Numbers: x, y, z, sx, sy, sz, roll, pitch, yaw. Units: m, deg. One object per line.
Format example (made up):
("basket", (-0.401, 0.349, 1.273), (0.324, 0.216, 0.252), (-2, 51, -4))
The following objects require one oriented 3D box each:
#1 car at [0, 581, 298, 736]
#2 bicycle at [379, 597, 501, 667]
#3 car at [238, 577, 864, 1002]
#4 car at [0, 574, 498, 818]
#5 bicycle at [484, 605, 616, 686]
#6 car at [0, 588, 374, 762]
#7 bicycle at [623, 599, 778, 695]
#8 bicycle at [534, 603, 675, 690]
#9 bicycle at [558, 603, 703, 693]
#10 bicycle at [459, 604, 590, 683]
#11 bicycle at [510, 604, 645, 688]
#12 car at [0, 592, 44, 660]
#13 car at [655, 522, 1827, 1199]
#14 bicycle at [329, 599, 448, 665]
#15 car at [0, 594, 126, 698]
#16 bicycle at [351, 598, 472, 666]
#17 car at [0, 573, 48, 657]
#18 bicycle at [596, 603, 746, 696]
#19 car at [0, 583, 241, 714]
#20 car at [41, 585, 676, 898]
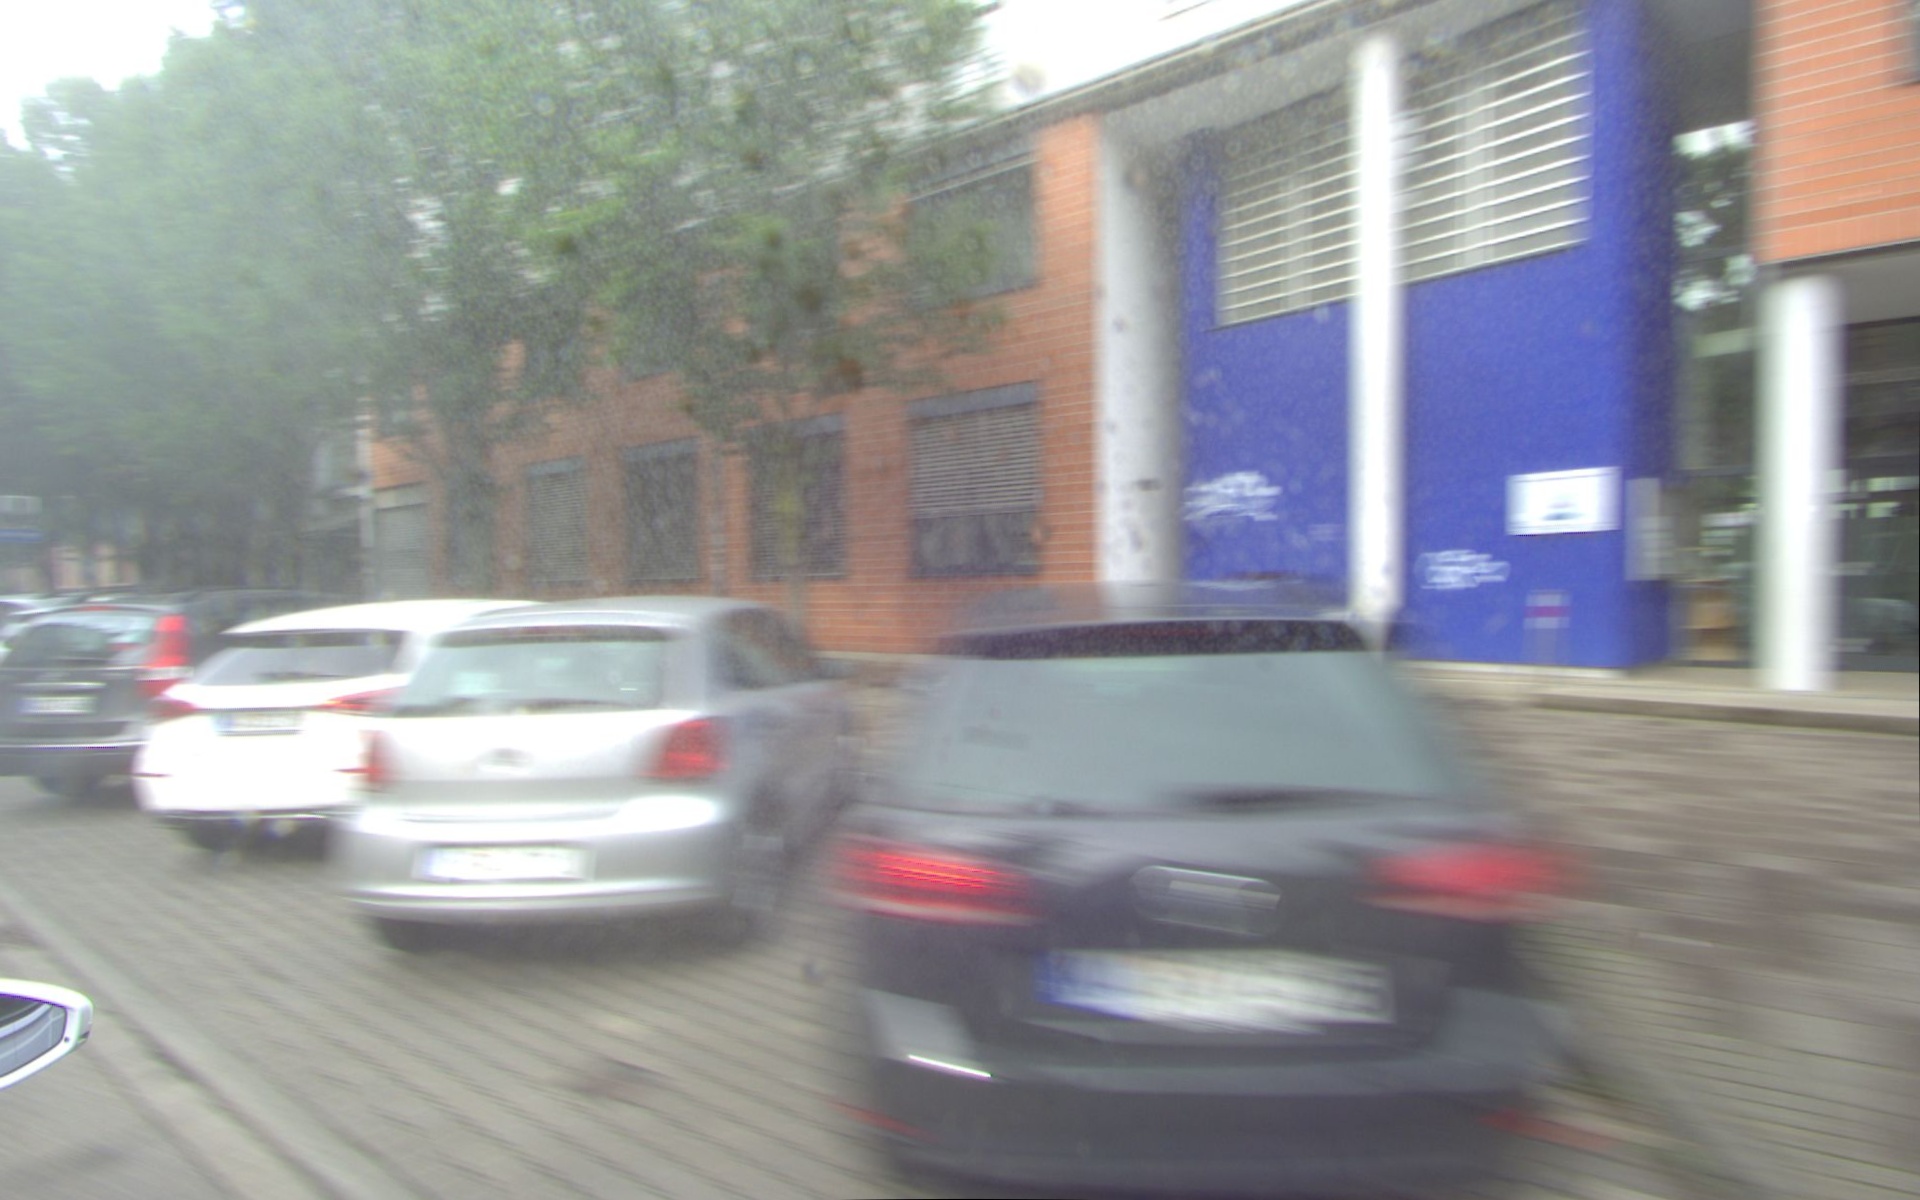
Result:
("car", (-10.554, 0.583, 12.339), (1.737, 1.606, 4.057), (-1, 1, 7))
("bicycle", (-8.678, 0.512, 16.776), (0.558, 1.106, 1.746), (-1, 0, 36))
("car", (-1.654, 0.677, 5.392), (1.809, 1.519, 3.566), (0, 0, 2))
("car", (-6.061, 0.616, 8.688), (1.867, 1.606, 4.058), (-1, 1, 6))
("bicycle", (-5.980, 0.643, 14.682), (0.558, 1.106, 1.746), (-1, 0, 36))
("car", (-8.473, 0.653, 10.920), (1.649, 1.506, 4.058), (-1, 1, 1))
("bicycle", (-3.178, 0.543, 12.457), (0.569, 1.106, 1.926), (-1, 0, 36))
("bicycle", (-4.874, 0.608, 13.831), (0.558, 1.106, 1.829), (-1, 0, 36))
("bicycle", (-4.322, 0.600, 13.259), (0.536, 1.106, 1.829), (-1, 0, 36))
("bicycle", (-6.488, 0.620, 15.001), (0.558, 1.106, 1.746), (-1, 0, 36))
("bicycle", (-5.387, 0.618, 14.184), (0.558, 1.106, 1.746), (-1, 0, 36))
("car", (-22.872, 0.637, 22.010), (1.737, 1.526, 3.862), (-1, 1, 3))
("car", (0.579, 0.613, 3.768), (1.827, 1.600, 4.284), (-1, 2, 4))
("bicycle", (-10.101, 0.551, 17.743), (0.558, 1.106, 1.746), (-1, 0, 36))
("car", (-15.165, 0.705, 15.256), (1.737, 1.526, 3.861), (-1, 1, -3))
("bicycle", (-9.431, 0.532, 17.283), (0.558, 1.106, 1.746), (-1, 0, 36))
("car", (-25.581, 0.432, 24.035), (1.912, 2.156, 5.623), (-1, 1, 3))
("bicycle", (-3.655, 0.597, 12.818), (0.536, 1.106, 1.888), (-1, 0, 36))
("car", (-12.620, 0.586, 14.181), (1.737, 1.606, 4.058), (-1, 1, 4))
("car", (-3.699, 0.757, 7.150), (1.839, 1.563, 3.987), (1, -1, 6))
